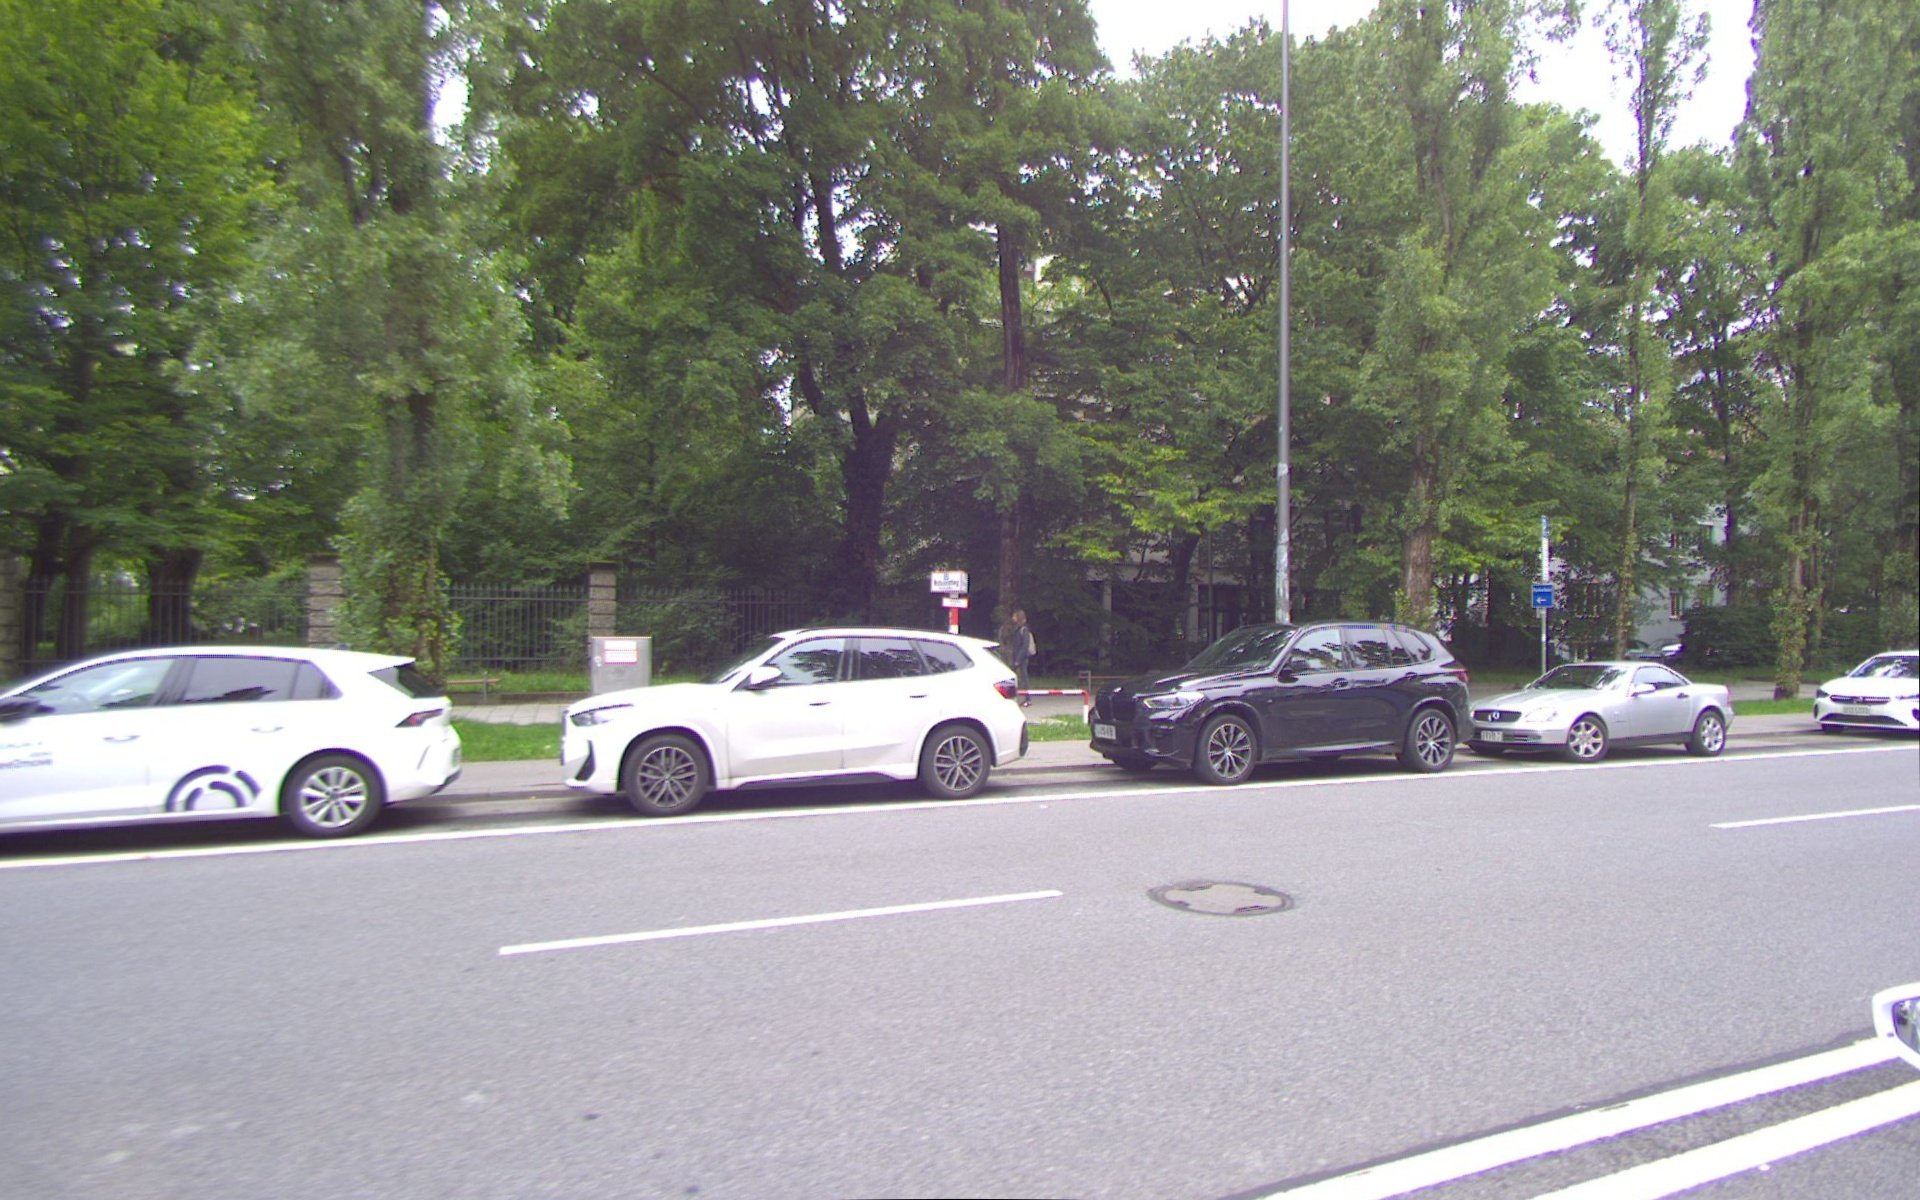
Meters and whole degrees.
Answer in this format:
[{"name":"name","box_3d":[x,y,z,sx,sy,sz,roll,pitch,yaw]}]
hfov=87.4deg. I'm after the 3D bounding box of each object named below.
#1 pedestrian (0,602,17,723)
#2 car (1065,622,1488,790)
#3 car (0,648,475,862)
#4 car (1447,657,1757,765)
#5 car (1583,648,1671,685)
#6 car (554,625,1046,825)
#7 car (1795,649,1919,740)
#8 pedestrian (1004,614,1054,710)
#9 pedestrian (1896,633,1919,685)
[{"name":"pedestrian","box_3d":[-14.332,0.903,14.637,0.663,1.771,0.548,1,-1,-22]},{"name":"car","box_3d":[3.740,1.154,11.857,4.651,1.680,1.876,1,-4,-23]},{"name":"car","box_3d":[-6.171,1.101,7.813,4.176,1.440,1.673,1,-3,-22]},{"name":"car","box_3d":[8.899,1.462,13.932,3.969,1.321,1.578,1,-3,-21]},{"name":"car","box_3d":[33.169,3.272,49.943,4.215,1.706,1.985,1,-2,-30]},{"name":"car","box_3d":[-1.535,1.085,9.747,4.395,1.609,1.783,1,-3,-21]},{"name":"car","box_3d":[16.634,1.572,17.419,3.947,1.431,1.682,1,-3,-23]},{"name":"pedestrian","box_3d":[1.344,1.195,19.573,0.764,1.839,0.639,1,-1,-22]},{"name":"pedestrian","box_3d":[32.448,2.004,34.224,0.631,1.762,0.598,1,-1,-22]}]
